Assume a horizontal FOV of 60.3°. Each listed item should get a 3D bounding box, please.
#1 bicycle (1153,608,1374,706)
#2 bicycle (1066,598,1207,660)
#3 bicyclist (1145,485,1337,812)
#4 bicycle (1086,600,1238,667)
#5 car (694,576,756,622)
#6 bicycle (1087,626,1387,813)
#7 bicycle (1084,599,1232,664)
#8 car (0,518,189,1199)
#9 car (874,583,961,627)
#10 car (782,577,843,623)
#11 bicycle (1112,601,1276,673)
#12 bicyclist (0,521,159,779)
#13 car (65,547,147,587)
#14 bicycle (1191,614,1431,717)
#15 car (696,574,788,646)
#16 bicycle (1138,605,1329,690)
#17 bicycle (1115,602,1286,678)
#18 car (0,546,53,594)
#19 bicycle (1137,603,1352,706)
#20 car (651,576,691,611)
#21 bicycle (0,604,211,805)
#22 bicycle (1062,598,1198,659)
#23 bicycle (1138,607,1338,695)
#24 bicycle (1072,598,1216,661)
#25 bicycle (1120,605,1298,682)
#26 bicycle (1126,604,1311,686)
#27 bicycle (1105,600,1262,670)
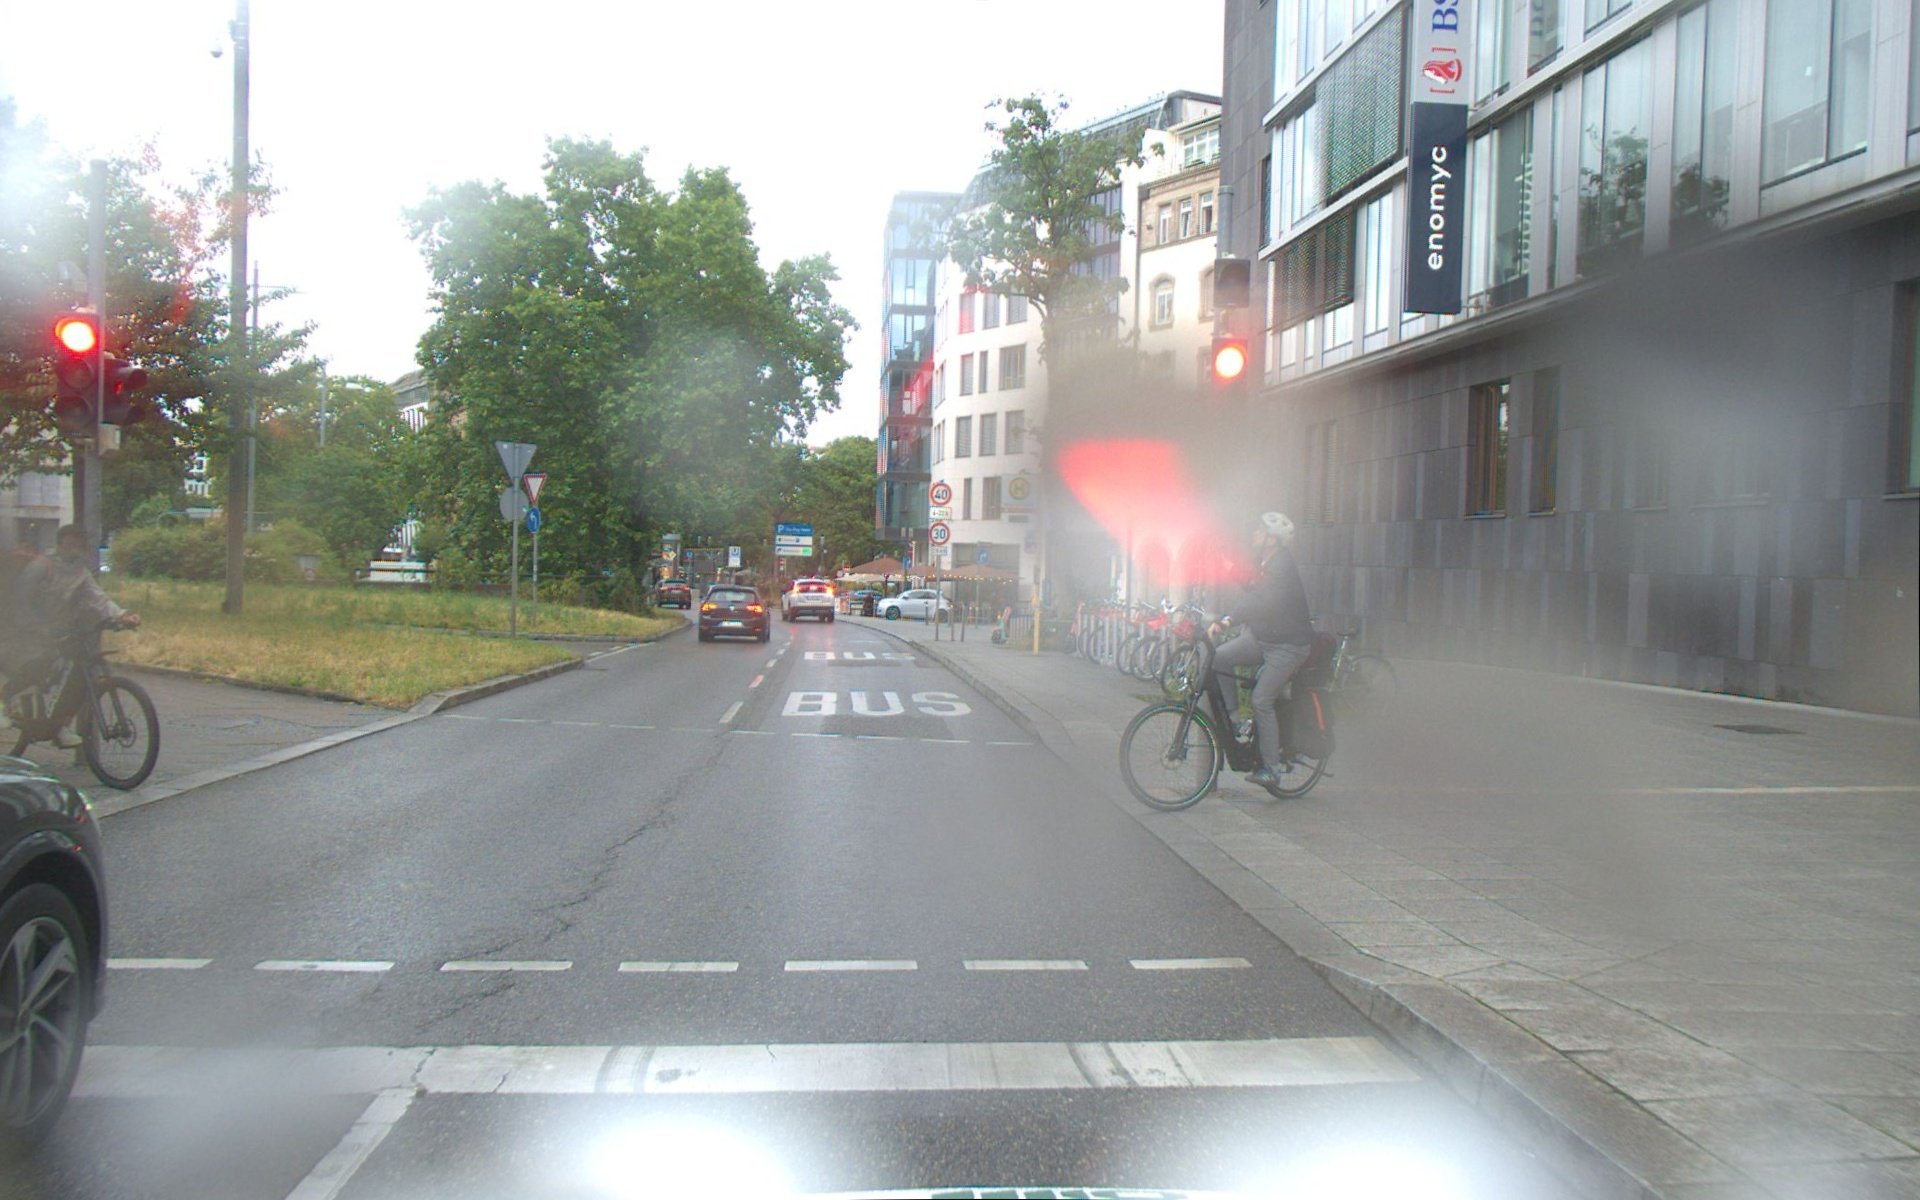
[{"bbox_3d":[3.598,0.671,19.678,2.487,1.106,0.677,1,0,-6],"label":"bicycle"},{"bbox_3d":[3.251,0.534,30.544,2.487,1.106,0.677,1,0,-6],"label":"bicycle"},{"bbox_3d":[1.930,0.317,11.361,1.072,2.119,0.754,1,0,-34],"label":"bicyclist"},{"bbox_3d":[3.432,0.567,28.159,2.487,1.106,0.677,1,0,-6],"label":"bicycle"},{"bbox_3d":[-9.047,-0.064,63.443,1.912,1.675,4.230,2,0,-14],"label":"car"},{"bbox_3d":[1.928,0.770,11.357,2.107,1.165,0.754,1,0,-34],"label":"bicycle"},{"bbox_3d":[3.451,0.546,28.911,2.487,1.106,0.677,1,0,-6],"label":"bicycle"},{"bbox_3d":[-3.065,0.622,2.667,1.811,1.644,4.250,2,1,-4],"label":"car"},{"bbox_3d":[-2.037,0.235,78.155,3.910,1.675,1.998,6,0,-5],"label":"car"},{"bbox_3d":[-5.925,-0.026,66.177,2.139,1.730,3.992,2,0,-9],"label":"car"},{"bbox_3d":[3.714,0.586,26.347,2.487,1.106,0.677,1,0,-6],"label":"bicycle"},{"bbox_3d":[-6.235,0.295,11.053,1.109,1.609,1.015,4,0,17],"label":"bicyclist"},{"bbox_3d":[-35.923,-1.377,69.700,1.772,1.512,4.372,3,0,-10],"label":"car"},{"bbox_3d":[3.849,0.716,18.206,2.487,1.075,0.677,1,0,-6],"label":"bicycle"},{"bbox_3d":[-5.666,0.217,43.481,2.120,1.735,4.550,2,0,-5],"label":"car"},{"bbox_3d":[3.719,0.641,22.564,2.487,1.106,0.677,1,0,-6],"label":"bicycle"},{"bbox_3d":[3.647,0.607,25.149,2.487,1.106,0.677,1,0,-6],"label":"bicycle"},{"bbox_3d":[-32.207,-1.044,55.720,1.773,1.512,3.987,3,0,-13],"label":"car"},{"bbox_3d":[3.506,0.668,20.479,2.487,1.106,0.677,3,0,-6],"label":"bicycle"},{"bbox_3d":[-14.758,-0.358,84.367,1.911,1.675,3.989,2,0,-11],"label":"car"},{"bbox_3d":[-6.224,0.643,11.044,2.018,1.133,1.012,4,0,18],"label":"bicycle"},{"bbox_3d":[3.202,0.538,31.265,2.487,1.106,0.626,1,0,-6],"label":"bicycle"},{"bbox_3d":[3.638,0.665,21.708,2.487,1.106,0.677,1,0,-6],"label":"bicycle"},{"bbox_3d":[3.312,0.527,29.797,2.487,1.106,0.677,1,0,-6],"label":"bicycle"},{"bbox_3d":[3.636,0.627,24.240,2.487,1.078,0.677,1,0,-6],"label":"bicycle"},{"bbox_3d":[3.647,0.631,23.373,2.487,1.106,0.677,1,0,-6],"label":"bicycle"},{"bbox_3d":[3.683,0.578,27.324,2.487,1.106,0.677,1,0,-6],"label":"bicycle"}]
